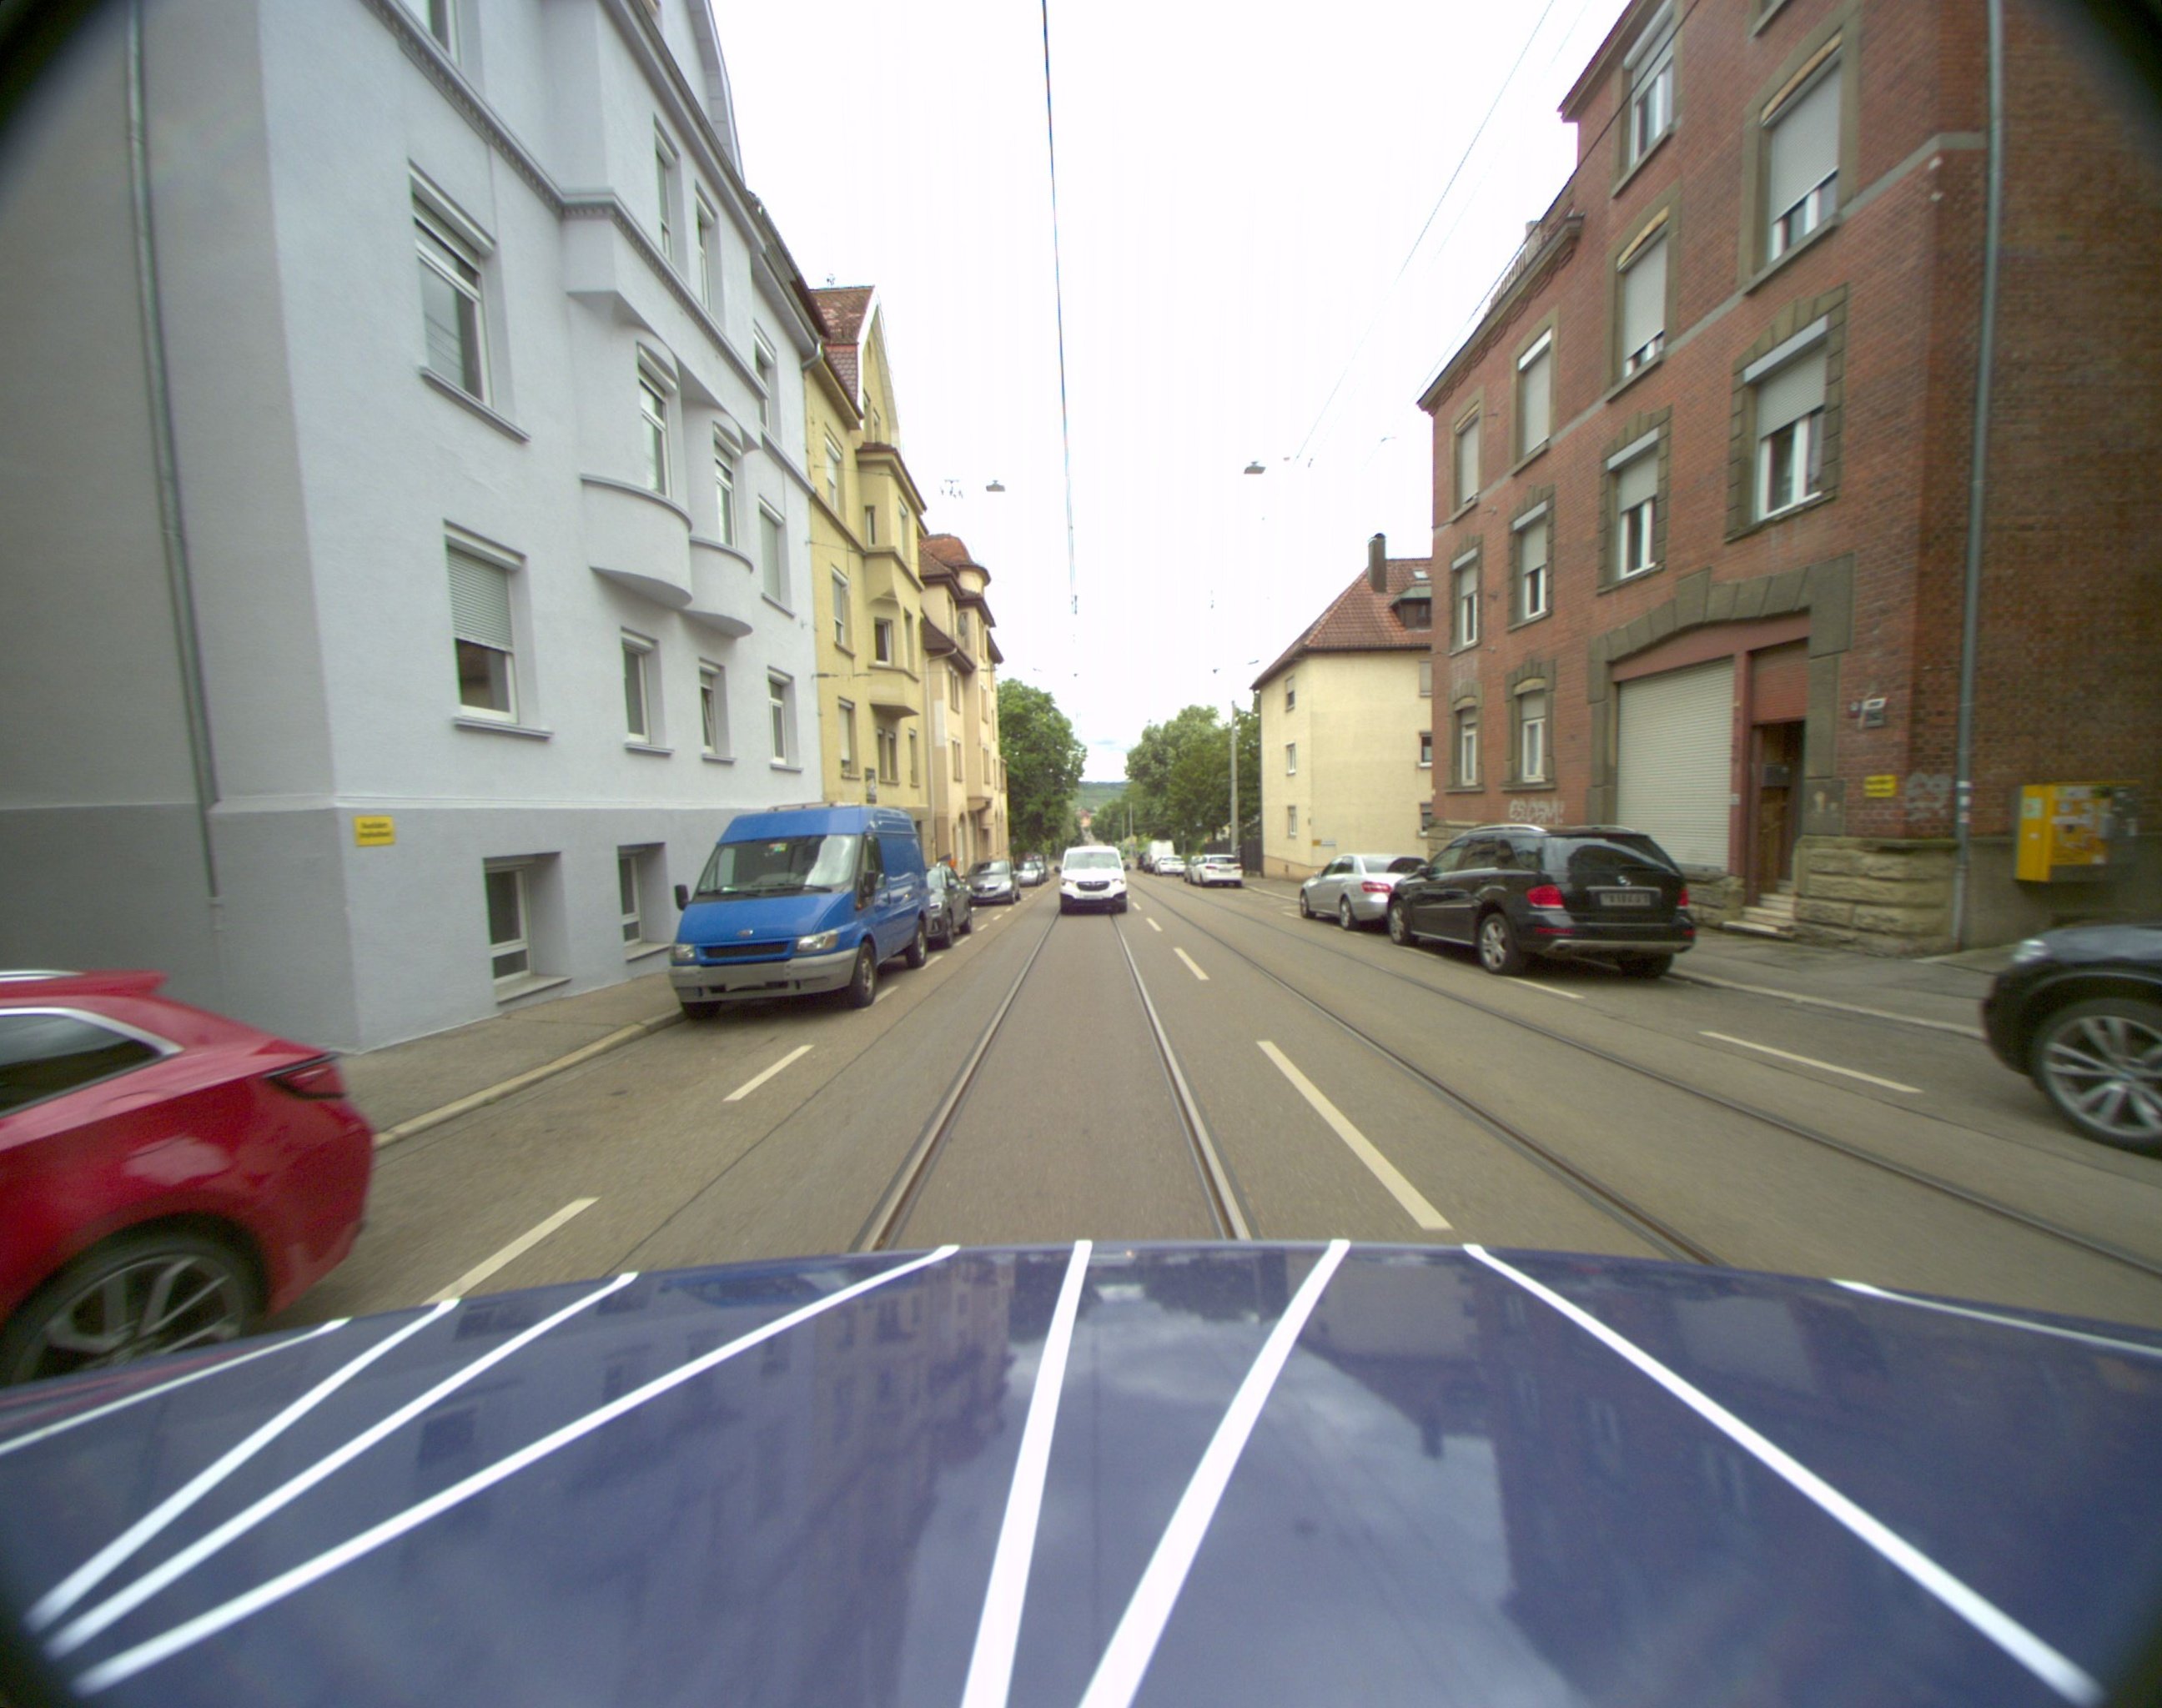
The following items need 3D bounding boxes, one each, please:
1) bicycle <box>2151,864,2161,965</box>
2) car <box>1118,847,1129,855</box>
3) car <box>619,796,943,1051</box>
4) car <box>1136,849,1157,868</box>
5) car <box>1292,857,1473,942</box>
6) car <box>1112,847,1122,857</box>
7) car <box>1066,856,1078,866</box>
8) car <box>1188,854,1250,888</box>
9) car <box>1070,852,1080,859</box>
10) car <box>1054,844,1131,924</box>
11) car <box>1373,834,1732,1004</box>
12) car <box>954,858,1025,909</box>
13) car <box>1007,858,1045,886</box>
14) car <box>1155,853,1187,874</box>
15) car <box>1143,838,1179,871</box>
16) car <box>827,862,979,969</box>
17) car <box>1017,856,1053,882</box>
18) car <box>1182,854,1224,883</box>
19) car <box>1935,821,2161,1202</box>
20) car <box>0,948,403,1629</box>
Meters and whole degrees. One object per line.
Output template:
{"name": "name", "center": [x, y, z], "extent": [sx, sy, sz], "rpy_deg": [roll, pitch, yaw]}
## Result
{"name": "bicycle", "center": [11.886, 0.572, 7.718], "extent": [1.675, 1.029, 0.343], "rpy_deg": [-4, 3, -4]}
{"name": "car", "center": [7.656, -0.532, 137.900], "extent": [1.856, 1.532, 3.948], "rpy_deg": [-2, 0, 1]}
{"name": "car", "center": [-3.318, 0.624, 9.772], "extent": [1.998, 2.363, 5.055], "rpy_deg": [-2, 1, 1]}
{"name": "car", "center": [6.583, 0.420, 76.817], "extent": [1.766, 1.765, 4.668], "rpy_deg": [2, 1, 2]}
{"name": "car", "center": [5.817, 0.788, 15.377], "extent": [1.832, 1.420, 4.839], "rpy_deg": [0, 0, 1]}
{"name": "car", "center": [7.472, -0.407, 157.413], "extent": [1.901, 1.935, 4.290], "rpy_deg": [0, 1, 1]}
{"name": "car", "center": [-1.532, 1.176, 131.149], "extent": [1.863, 1.434, 4.388], "rpy_deg": [-5, 0, 1]}
{"name": "car", "center": [6.181, 0.717, 34.513], "extent": [1.832, 1.420, 4.627], "rpy_deg": [2, 0, -1]}
{"name": "car", "center": [-1.343, 0.262, 160.205], "extent": [1.822, 1.344, 3.940], "rpy_deg": [-4, 0, 2]}
{"name": "car", "center": [0.358, 0.694, 20.238], "extent": [1.759, 1.824, 4.448], "rpy_deg": [-2, 1, 2]}
{"name": "car", "center": [5.715, 0.658, 10.156], "extent": [1.832, 1.708, 4.913], "rpy_deg": [0, 0, 1]}
{"name": "car", "center": [-3.146, 0.969, 26.917], "extent": [1.832, 1.510, 4.028], "rpy_deg": [-4, 0, 1]}
{"name": "car", "center": [-3.023, 0.972, 42.361], "extent": [1.699, 1.396, 3.667], "rpy_deg": [-4, 0, 1]}
{"name": "car", "center": [6.186, 0.635, 52.501], "extent": [1.723, 1.394, 4.313], "rpy_deg": [1, 0, 1]}
{"name": "car", "center": [6.519, 0.032, 62.722], "extent": [2.164, 2.591, 6.218], "rpy_deg": [1, 0, -1]}
{"name": "car", "center": [-3.202, 1.038, 14.570], "extent": [1.784, 1.522, 4.191], "rpy_deg": [-5, 1, 0]}
{"name": "car", "center": [-2.874, 0.937, 48.222], "extent": [1.844, 1.395, 4.167], "rpy_deg": [-4, 1, 1]}
{"name": "car", "center": [6.267, 0.711, 39.309], "extent": [1.604, 1.360, 3.807], "rpy_deg": [2, 0, 2]}
{"name": "car", "center": [5.596, 0.689, 1.717], "extent": [1.878, 1.654, 4.892], "rpy_deg": [0, 0, 1]}
{"name": "car", "center": [-3.492, 1.163, 0.531], "extent": [1.784, 1.466, 4.589], "rpy_deg": [-4, 1, 1]}
